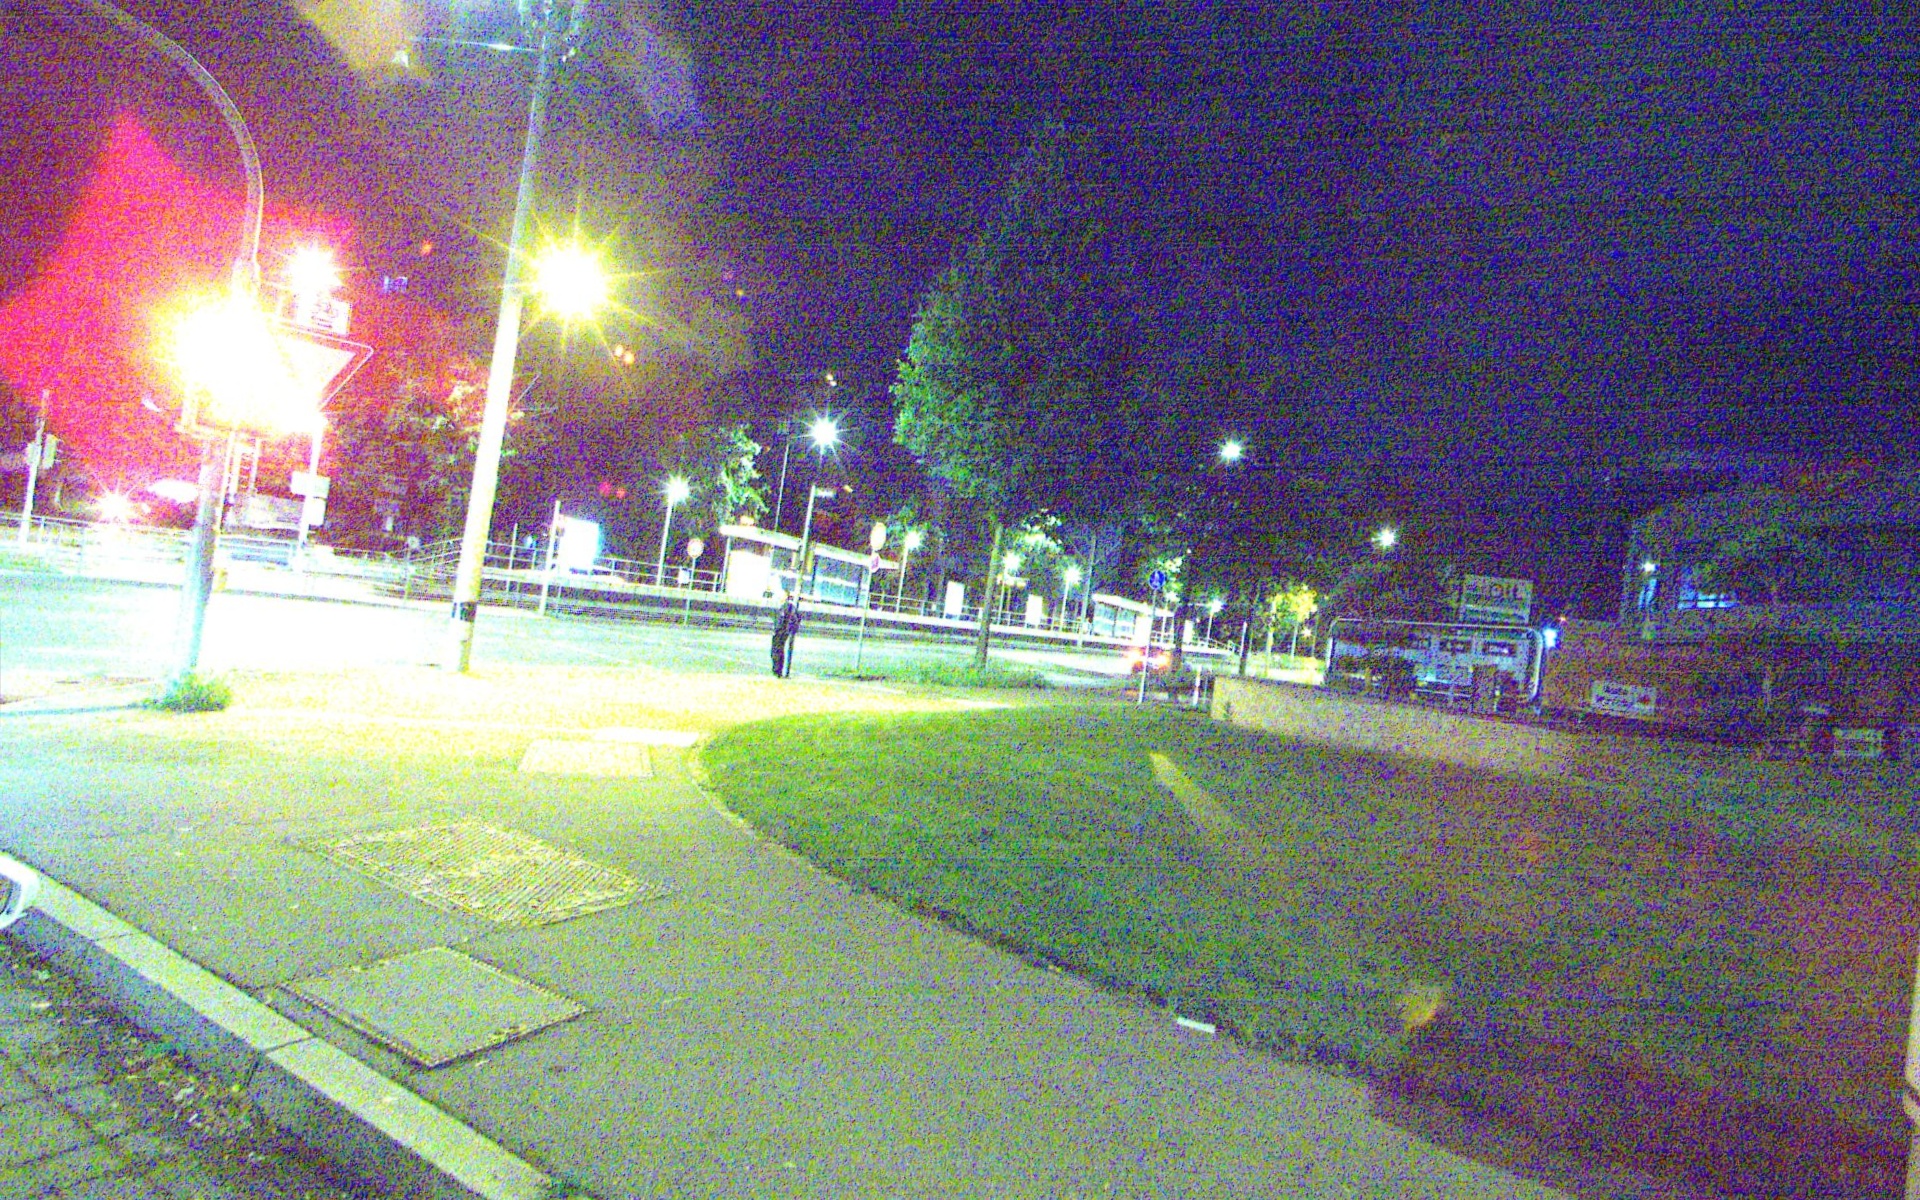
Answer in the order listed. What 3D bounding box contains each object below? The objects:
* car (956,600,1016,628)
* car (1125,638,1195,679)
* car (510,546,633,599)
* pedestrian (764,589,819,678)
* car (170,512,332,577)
[{"bbox_3d":[1.824,0.993,68.258,1.822,1.437,4.429,6,-1,35],"label":"car"},{"bbox_3d":[9.046,2.662,45.334,1.631,1.492,3.880,10,1,32],"label":"car"},{"bbox_3d":[-16.539,-1.140,43.069,1.816,1.604,4.575,8,0,33],"label":"car"},{"bbox_3d":[-3.291,0.648,19.604,0.867,1.677,0.835,2,1,-18],"label":"pedestrian"},{"bbox_3d":[-25.056,-1.928,35.669,1.776,1.603,4.237,5,-3,36],"label":"car"}]
